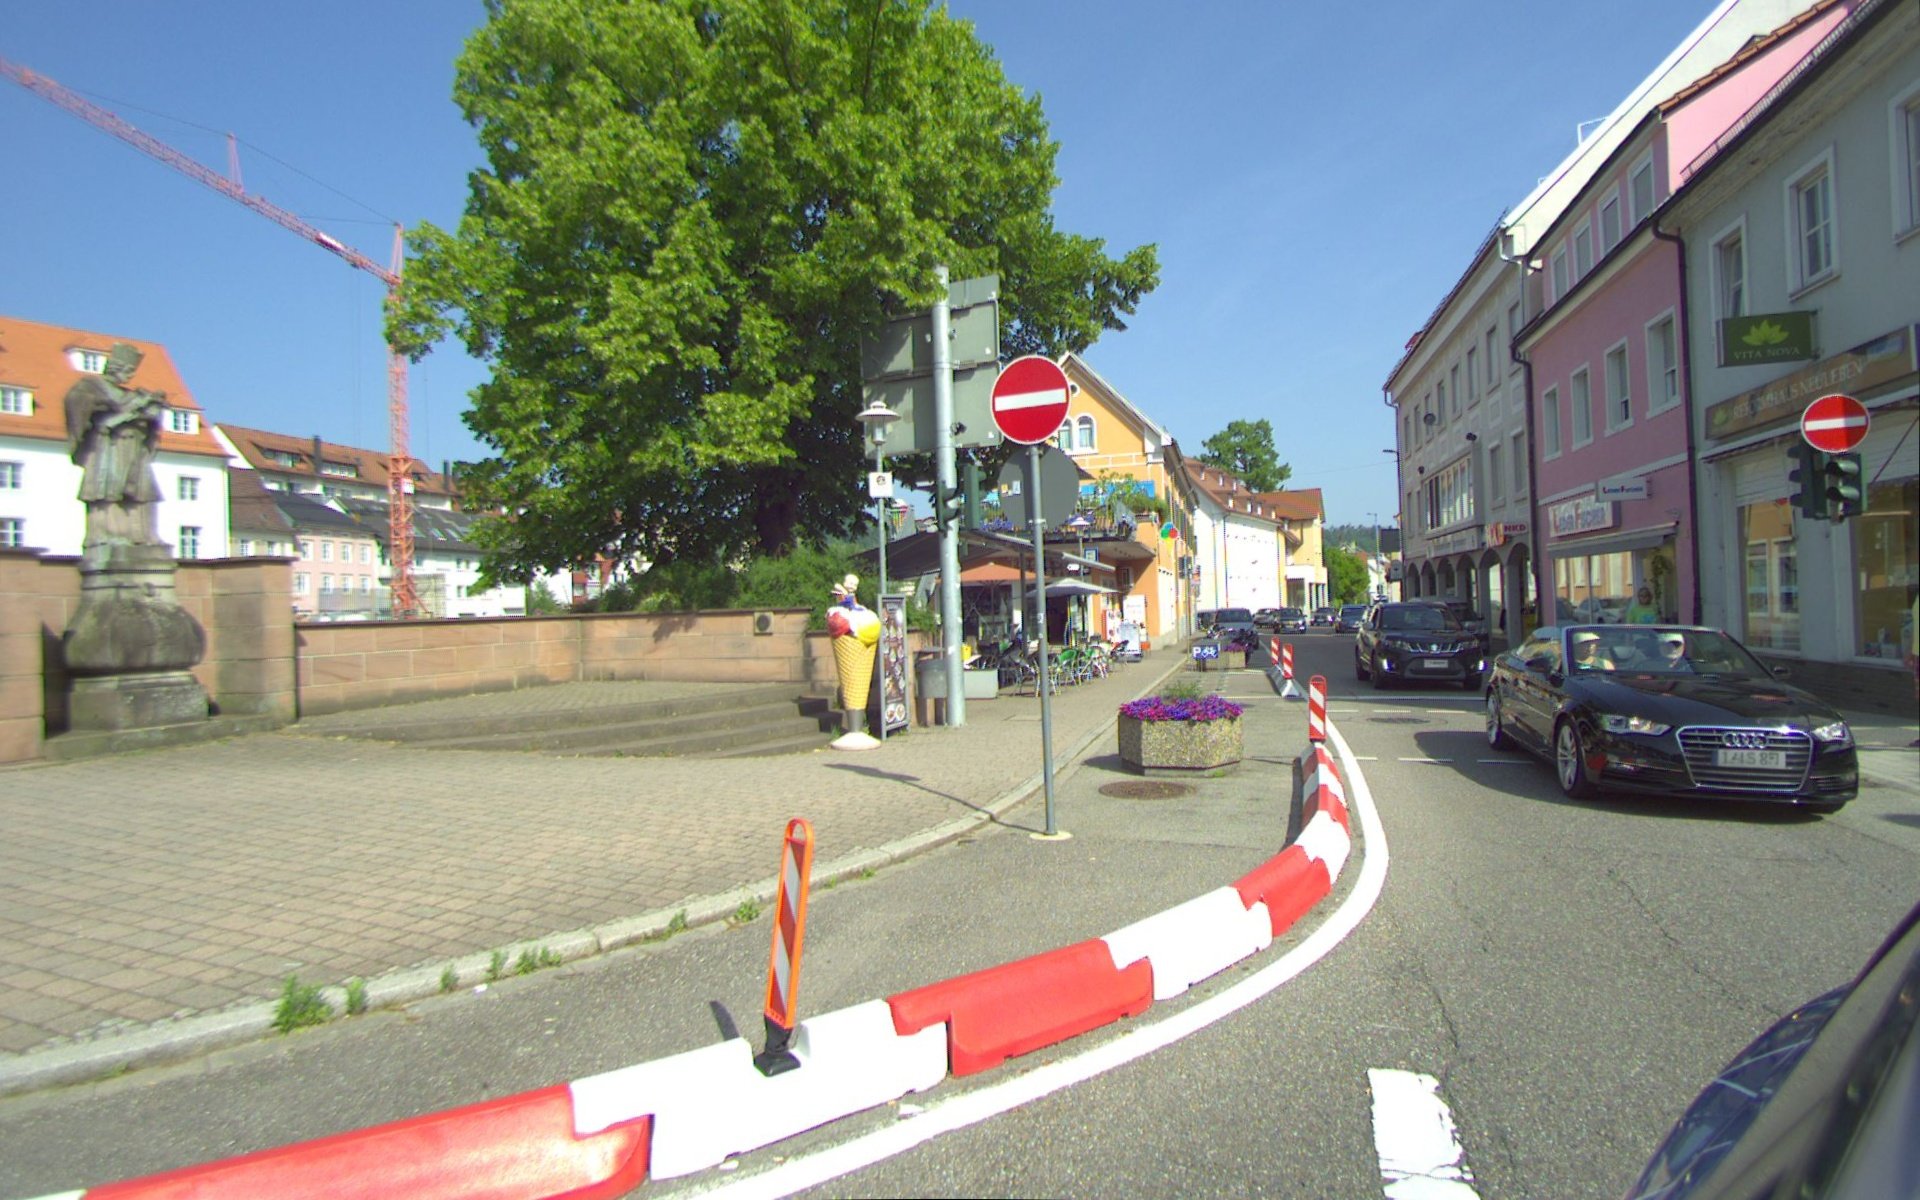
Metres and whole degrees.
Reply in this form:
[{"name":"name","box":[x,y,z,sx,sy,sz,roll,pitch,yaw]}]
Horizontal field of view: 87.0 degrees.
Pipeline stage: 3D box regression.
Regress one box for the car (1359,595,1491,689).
[{"name":"car","box":[8.660,0.715,19.148,1.661,1.580,3.950,-2,0,17]}]

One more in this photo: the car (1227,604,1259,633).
[{"name":"car","box":[16.242,1.029,58.003,1.661,1.559,4.163,-1,-1,17]}]

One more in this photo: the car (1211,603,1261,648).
[{"name":"car","box":[10.836,0.960,39.899,1.725,1.617,4.573,-3,-1,14]}]

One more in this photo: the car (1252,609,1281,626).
[{"name":"car","box":[23.498,1.323,77.484,1.513,1.260,3.997,-2,-1,26]}]

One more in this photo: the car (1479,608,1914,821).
[{"name":"car","box":[5.921,0.766,8.807,1.732,1.374,4.176,-1,-1,17]}]

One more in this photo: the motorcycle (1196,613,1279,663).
[{"name":"motorcycle","box":[7.734,1.038,28.207,2.047,1.286,0.930,-1,-1,-24]}]

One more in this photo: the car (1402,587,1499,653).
[{"name":"car","box":[14.576,0.580,30.289,1.687,1.761,4.127,-4,-2,14]}]

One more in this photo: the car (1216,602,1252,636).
[{"name":"car","box":[14.134,0.966,52.109,1.661,1.666,4.228,-1,-1,17]}]

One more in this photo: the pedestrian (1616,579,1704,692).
[{"name":"pedestrian","box":[10.875,0.544,15.766,0.778,1.653,0.854,-5,-2,18]}]

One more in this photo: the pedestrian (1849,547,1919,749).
[{"name":"pedestrian","box":[9.272,0.416,9.505,0.891,1.838,1.020,-5,-3,-35]}]

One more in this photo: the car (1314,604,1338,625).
[{"name":"car","box":[29.247,1.123,80.826,1.664,1.581,3.318,-2,-1,21]}]

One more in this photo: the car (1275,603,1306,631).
[{"name":"car","box":[19.923,1.014,61.117,1.661,1.581,3.324,-2,-1,17]}]

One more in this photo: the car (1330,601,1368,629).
[{"name":"car","box":[22.938,0.880,59.796,1.746,1.581,3.949,-2,-1,17]}]

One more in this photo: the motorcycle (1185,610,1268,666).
[{"name":"motorcycle","box":[7.044,0.987,26.771,1.860,1.375,0.918,-1,-1,-19]}]
